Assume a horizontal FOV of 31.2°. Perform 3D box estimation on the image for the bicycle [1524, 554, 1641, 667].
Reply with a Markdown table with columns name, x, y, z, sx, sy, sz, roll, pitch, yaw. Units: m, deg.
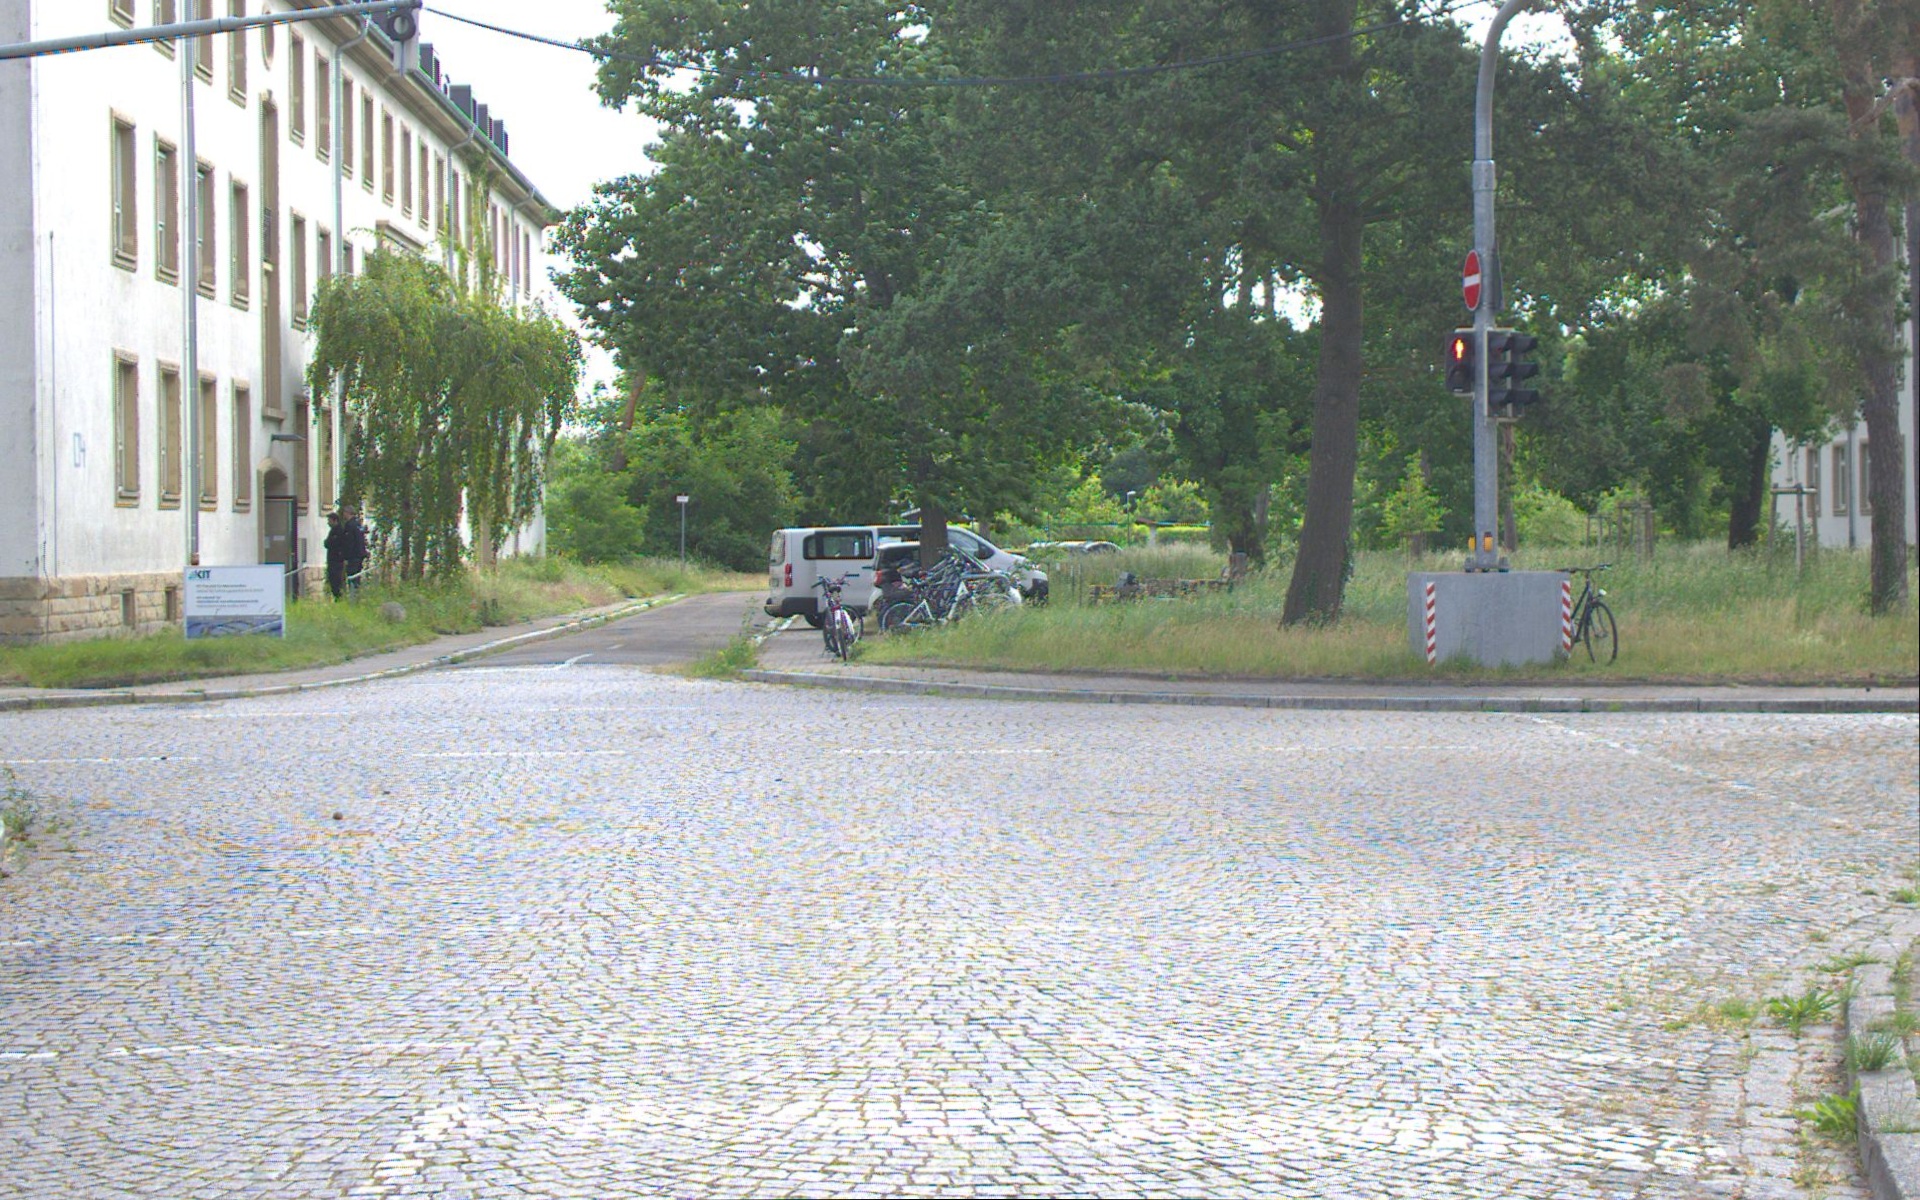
| name | x | y | z | sx | sy | sz | roll | pitch | yaw |
| --- | --- | --- | --- | --- | --- | --- | --- | --- | --- |
| bicycle | 6.235 | 0.088 | 34.515 | 0.644 | 1.059 | 1.834 | -4 | 1 | -4 |

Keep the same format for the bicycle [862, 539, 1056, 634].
| name | x | y | z | sx | sy | sz | roll | pitch | yaw |
| --- | --- | --- | --- | --- | --- | --- | --- | --- | --- |
| bicycle | -0.022 | -0.202 | 50.358 | 2.802 | 1.367 | 0.951 | 0 | 1 | -2 |

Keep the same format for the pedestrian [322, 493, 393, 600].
| name | x | y | z | sx | sy | sz | roll | pitch | yaw |
| --- | --- | --- | --- | --- | --- | --- | --- | --- | --- |
| pedestrian | -10.806 | -0.954 | 61.630 | 1.194 | 1.863 | 1.550 | 1 | 0 | -11 |

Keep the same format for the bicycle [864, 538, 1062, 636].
| name | x | y | z | sx | sy | sz | roll | pitch | yaw |
| --- | --- | --- | --- | --- | --- | --- | --- | --- | --- |
| bicycle | 0.030 | -0.192 | 49.465 | 2.802 | 1.367 | 0.951 | 0 | 1 | -2 |

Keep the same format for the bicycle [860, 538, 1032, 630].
| name | x | y | z | sx | sy | sz | roll | pitch | yaw |
| --- | --- | --- | --- | --- | --- | --- | --- | --- | --- |
| bicycle | -0.226 | -0.251 | 52.158 | 2.567 | 1.367 | 0.951 | 0 | 1 | -2 |

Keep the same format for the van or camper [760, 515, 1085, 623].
| name | x | y | z | sx | sy | sz | roll | pitch | yaw |
| --- | --- | --- | --- | --- | --- | --- | --- | --- | --- |
| van or camper | -0.716 | -0.600 | 64.631 | 5.740 | 1.950 | 2.238 | -1 | 1 | -13 |

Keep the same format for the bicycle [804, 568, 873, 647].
| name | x | y | z | sx | sy | sz | roll | pitch | yaw |
| --- | --- | --- | --- | --- | --- | --- | --- | --- | --- |
| bicycle | -1.590 | 0.090 | 45.211 | 0.727 | 0.993 | 1.978 | 0 | 1 | 3 |

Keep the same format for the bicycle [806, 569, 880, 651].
| name | x | y | z | sx | sy | sz | roll | pitch | yaw |
| --- | --- | --- | --- | --- | --- | --- | --- | --- | --- |
| bicycle | -1.464 | 0.112 | 43.120 | 0.900 | 0.993 | 1.979 | 0 | 1 | -2 |

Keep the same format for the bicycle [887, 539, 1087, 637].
| name | x | y | z | sx | sy | sz | roll | pitch | yaw |
| --- | --- | --- | --- | --- | --- | --- | --- | --- | --- |
| bicycle | 0.370 | -0.182 | 48.936 | 2.802 | 1.367 | 0.951 | 0 | 1 | -2 |

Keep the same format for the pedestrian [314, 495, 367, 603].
| name | x | y | z | sx | sy | sz | roll | pitch | yaw |
| --- | --- | --- | --- | --- | --- | --- | --- | --- | --- |
| pedestrian | -11.244 | -0.921 | 62.371 | 0.865 | 1.925 | 0.837 | 1 | 0 | -13 |

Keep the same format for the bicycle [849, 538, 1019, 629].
| name | x | y | z | sx | sy | sz | roll | pitch | yaw |
| --- | --- | --- | --- | --- | --- | --- | --- | --- | --- |
| bicycle | -0.411 | -0.261 | 52.993 | 2.567 | 1.367 | 0.951 | 0 | 1 | -2 |

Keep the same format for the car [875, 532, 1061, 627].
| name | x | y | z | sx | sy | sz | roll | pitch | yaw |
| --- | --- | --- | --- | --- | --- | --- | --- | --- | --- |
| car | 0.118 | -0.375 | 61.131 | 3.224 | 1.615 | 1.938 | 1 | 0 | -2 |

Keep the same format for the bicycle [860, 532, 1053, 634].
| name | x | y | z | sx | sy | sz | roll | pitch | yaw |
| --- | --- | --- | --- | --- | --- | --- | --- | --- | --- |
| bicycle | -0.062 | -0.236 | 47.128 | 2.619 | 1.362 | 0.874 | 0 | 1 | -2 |

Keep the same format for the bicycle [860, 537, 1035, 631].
| name | x | y | z | sx | sy | sz | roll | pitch | yaw |
| --- | --- | --- | --- | --- | --- | --- | --- | --- | --- |
| bicycle | -0.192 | -0.242 | 51.318 | 2.567 | 1.367 | 0.951 | 0 | 1 | -2 |

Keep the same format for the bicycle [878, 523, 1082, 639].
| name | x | y | z | sx | sy | sz | roll | pitch | yaw |
| --- | --- | --- | --- | --- | --- | --- | --- | --- | --- |
| bicycle | 0.263 | -0.268 | 48.002 | 2.802 | 1.578 | 0.951 | 0 | 1 | -2 |

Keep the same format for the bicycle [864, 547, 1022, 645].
| name | x | y | z | sx | sy | sz | roll | pitch | yaw |
| --- | --- | --- | --- | --- | --- | --- | --- | --- | --- |
| bicycle | -0.237 | -0.057 | 46.516 | 2.113 | 1.302 | 0.874 | 0 | 1 | -2 |
